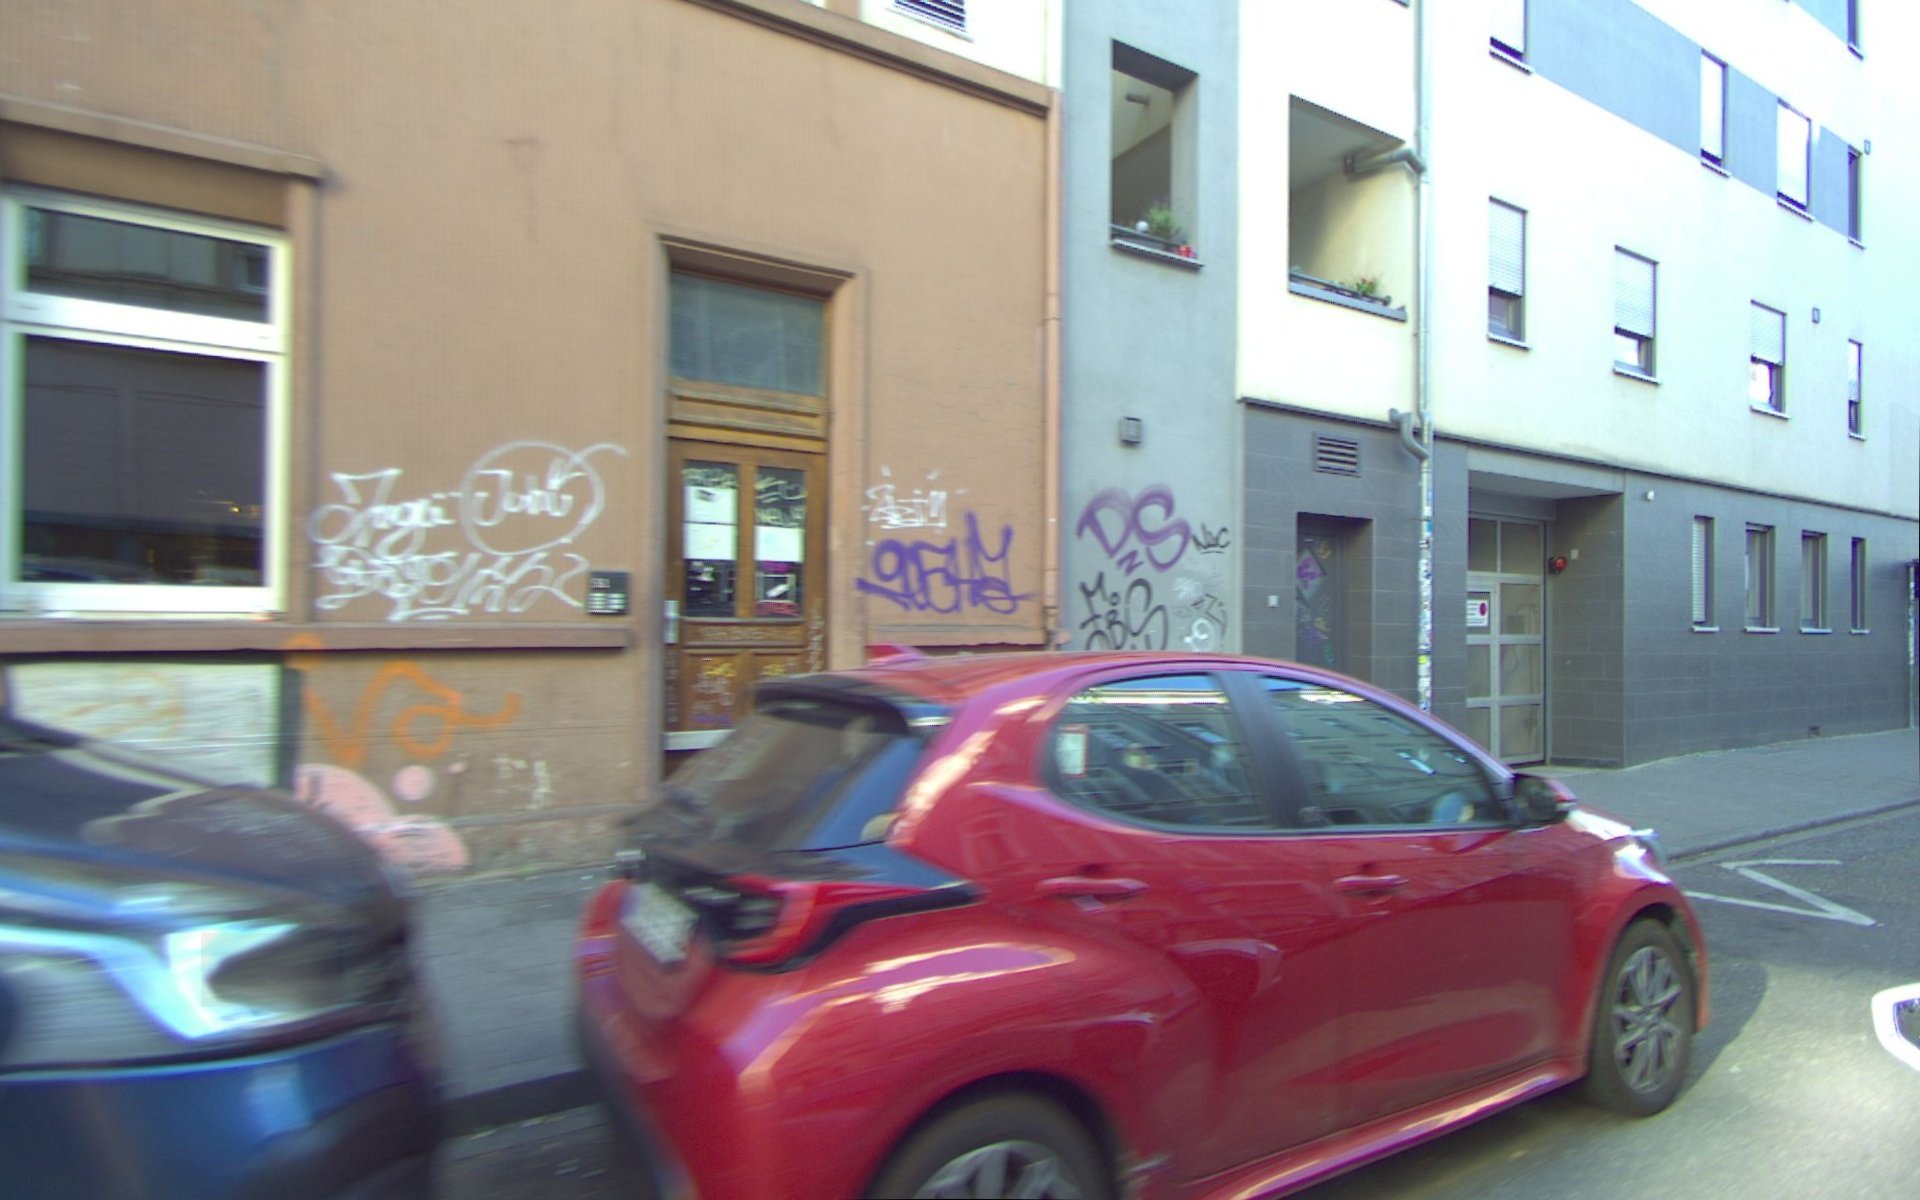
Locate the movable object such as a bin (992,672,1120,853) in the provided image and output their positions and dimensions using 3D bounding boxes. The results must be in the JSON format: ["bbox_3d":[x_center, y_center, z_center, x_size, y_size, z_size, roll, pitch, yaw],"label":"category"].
[{"bbox_3d":[0.621,1.049,6.694,0.640,1.081,0.760,2,-1,-11],"label":"movable object such as a bin"}]

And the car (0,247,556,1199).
[{"bbox_3d":[-3.333,0.522,0.987,5.233,1.904,2.011,1,0,-30],"label":"car"}]

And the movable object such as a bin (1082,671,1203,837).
[{"bbox_3d":[1.317,1.077,7.237,0.717,1.081,0.506,1,-1,28],"label":"movable object such as a bin"}]

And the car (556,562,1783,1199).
[{"bbox_3d":[0.831,0.834,3.363,3.825,1.541,1.743,2,-5,-31],"label":"car"}]
